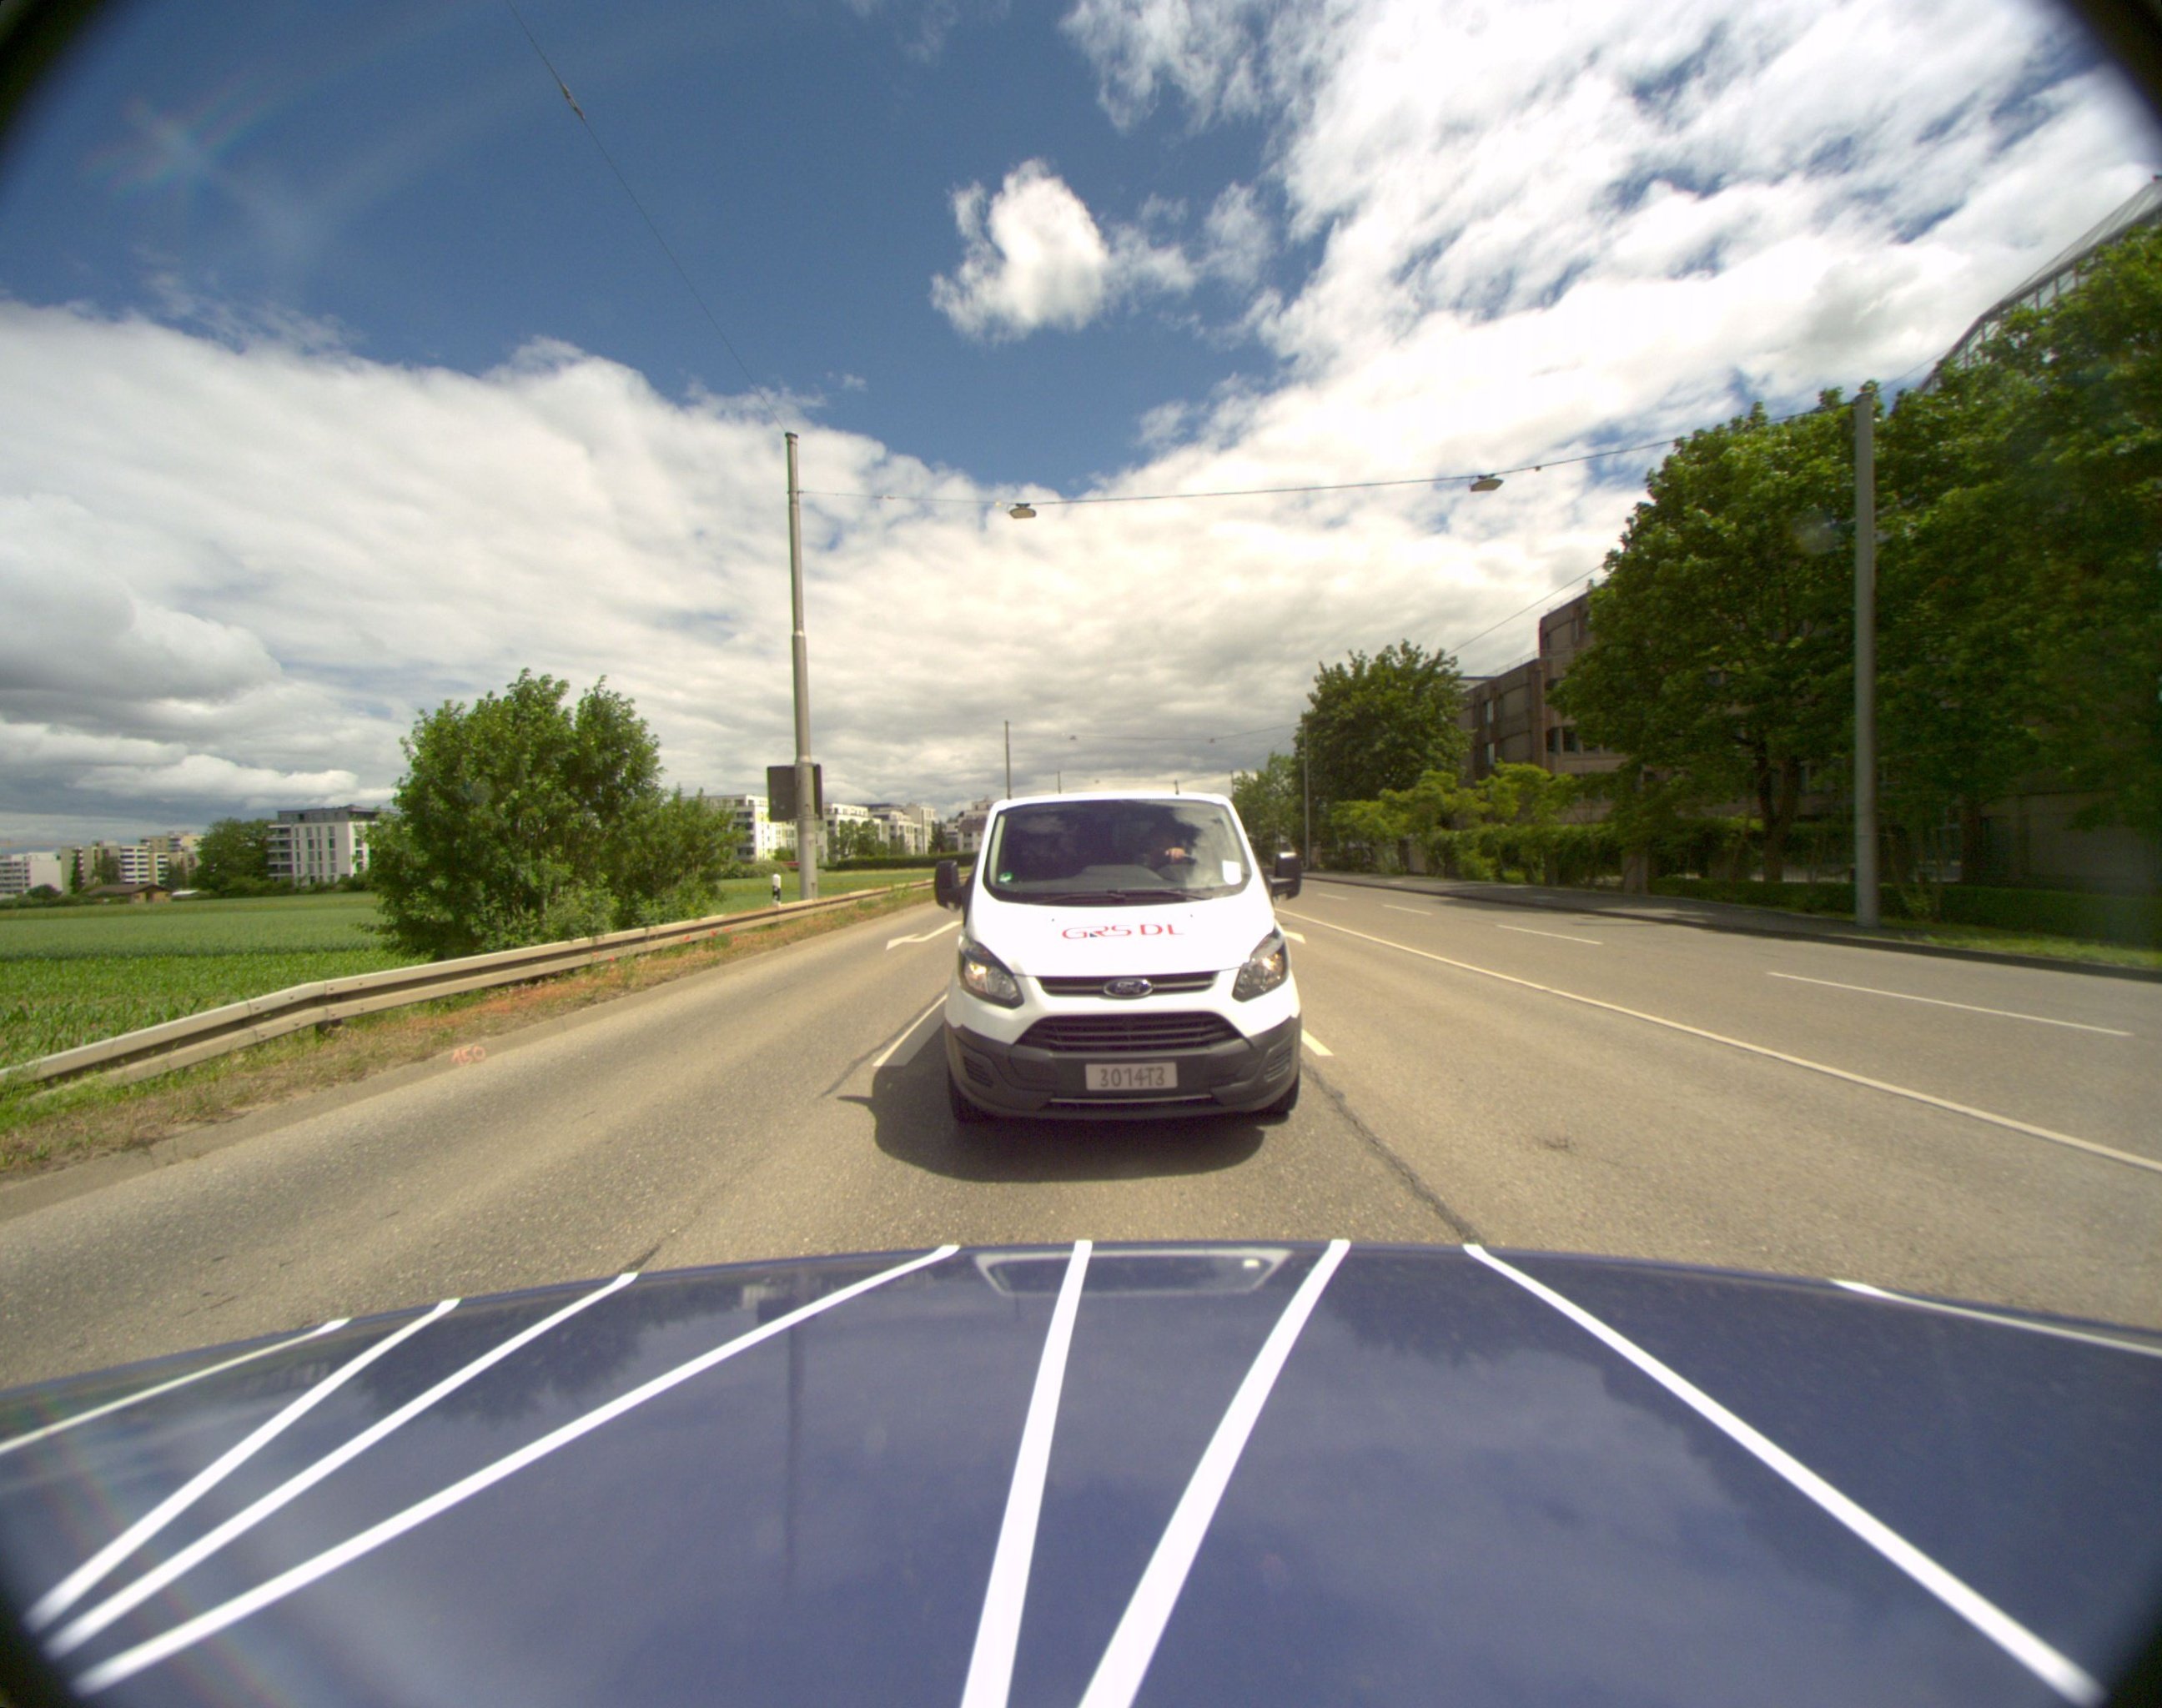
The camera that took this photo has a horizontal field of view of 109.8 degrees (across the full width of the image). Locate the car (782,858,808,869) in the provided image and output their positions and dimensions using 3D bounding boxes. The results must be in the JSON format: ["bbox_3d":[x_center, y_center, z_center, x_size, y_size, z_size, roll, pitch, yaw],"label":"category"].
[{"bbox_3d":[-58.516,1.917,155.650,4.436,2.002,2.000,-1,1,2],"label":"car"}]

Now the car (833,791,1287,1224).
[{"bbox_3d":[0.103,0.713,6.343,1.998,1.906,5.884,-1,0,4],"label":"car"}]

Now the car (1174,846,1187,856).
[{"bbox_3d":[17.381,-0.504,132.573,1.872,1.606,4.571,-1,1,3],"label":"car"}]
